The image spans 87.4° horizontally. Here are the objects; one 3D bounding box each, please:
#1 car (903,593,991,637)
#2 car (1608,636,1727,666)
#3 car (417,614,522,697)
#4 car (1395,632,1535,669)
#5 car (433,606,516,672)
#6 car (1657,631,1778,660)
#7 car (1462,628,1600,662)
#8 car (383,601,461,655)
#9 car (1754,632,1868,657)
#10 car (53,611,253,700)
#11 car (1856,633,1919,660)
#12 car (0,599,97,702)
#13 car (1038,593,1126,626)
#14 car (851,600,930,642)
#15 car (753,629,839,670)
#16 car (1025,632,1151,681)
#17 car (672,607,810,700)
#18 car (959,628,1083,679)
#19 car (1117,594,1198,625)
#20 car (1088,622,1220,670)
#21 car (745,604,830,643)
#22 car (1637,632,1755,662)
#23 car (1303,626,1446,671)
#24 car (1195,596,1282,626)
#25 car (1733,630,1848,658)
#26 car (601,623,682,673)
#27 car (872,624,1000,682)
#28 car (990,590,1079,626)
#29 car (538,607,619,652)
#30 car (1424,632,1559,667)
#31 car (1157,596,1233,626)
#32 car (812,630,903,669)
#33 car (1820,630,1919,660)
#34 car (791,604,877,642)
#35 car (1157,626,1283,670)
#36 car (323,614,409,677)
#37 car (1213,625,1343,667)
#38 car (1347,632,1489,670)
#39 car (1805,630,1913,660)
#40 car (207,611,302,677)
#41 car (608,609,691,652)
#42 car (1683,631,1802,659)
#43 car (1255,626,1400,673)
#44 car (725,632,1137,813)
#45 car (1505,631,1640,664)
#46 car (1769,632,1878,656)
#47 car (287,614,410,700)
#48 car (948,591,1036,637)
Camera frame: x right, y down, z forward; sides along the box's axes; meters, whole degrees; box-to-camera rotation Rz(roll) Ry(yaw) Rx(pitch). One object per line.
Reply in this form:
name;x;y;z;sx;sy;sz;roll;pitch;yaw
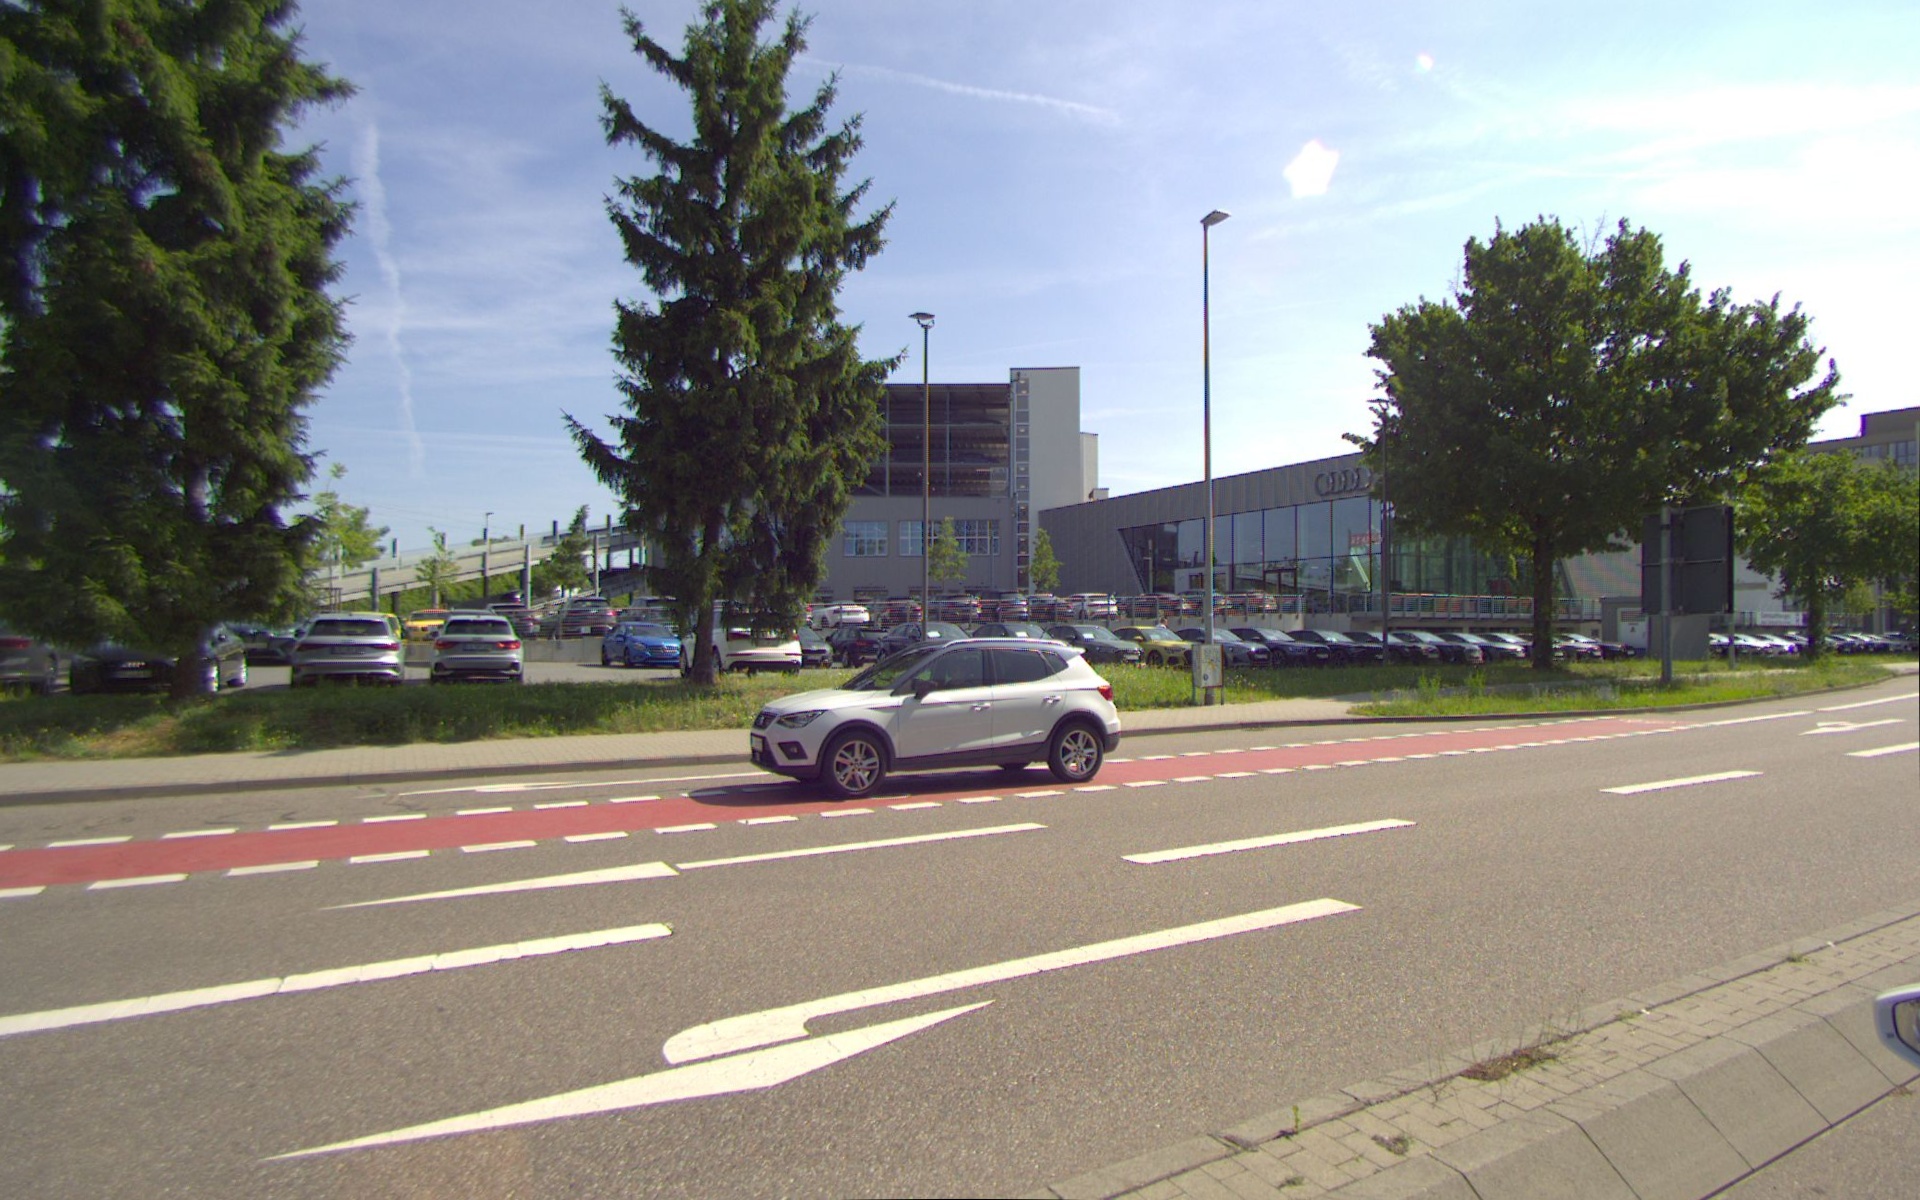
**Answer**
car;-0.641;0.718;44.838;1.957;1.839;4.476;1;-2;-31
car;31.844;2.324;45.312;1.876;1.171;3.968;1;-5;-31
car;-10.357;1.093;21.270;1.823;1.506;3.974;1;0;-26
car;19.176;1.870;38.310;1.898;1.307;4.476;1;-2;-31
car;-14.389;1.083;29.652;1.976;1.780;3.969;1;0;-29
car;36.095;2.189;47.958;2.064;1.171;4.154;1;-5;-31
car;22.959;1.789;40.572;1.982;1.307;4.476;1;-2;-31
car;-18.842;0.935;35.112;1.980;1.756;3.961;1;0;-35
car;44.441;2.353;52.544;1.933;1.091;4.154;1;-5;-31
car;-13.964;0.875;17.701;1.976;1.285;4.828;1;0;-30
car;56.504;2.722;59.786;2.027;1.460;4.287;1;-5;-30
car;-16.353;0.776;16.915;1.976;1.567;4.194;1;0;-30
car;5.877;0.488;48.945;1.957;1.504;4.476;1;-2;-31
car;-3.067;0.917;43.311;1.646;1.728;4.246;1;-2;-31
car;-5.677;1.658;34.528;1.626;1.213;3.751;1;0;-31
car;3.631;1.626;29.013;1.644;1.302;3.724;1;-3;-31
car;-5.165;1.136;23.215;1.975;1.900;4.444;1;0;-28
car;1.621;1.481;27.836;1.725;1.302;3.576;1;-3;-31
car;10.115;0.486;51.714;2.027;1.516;3.968;1;0;-30
car;5.827;1.427;30.628;1.819;1.358;3.868;1;-3;-31
car;-7.137;0.980;41.172;1.957;1.504;4.476;1;-2;-31
car;34.084;2.196;46.601;1.876;1.171;3.968;1;-5;-31
car;14.724;1.681;35.918;1.898;1.495;4.476;1;-2;-31
car;14.942;0.571;54.130;1.963;1.516;4.498;1;0;-30
car;42.595;2.287;51.604;1.933;1.205;4.154;1;-5;-31
car;-10.160;1.478;31.862;1.626;1.420;3.710;1;0;-31
car;-0.702;1.338;26.413;1.725;1.302;3.771;1;0;-31
car;3.438;0.404;47.370;1.957;1.571;4.476;1;-2;-31
car;-14.060;1.043;36.891;1.978;1.496;4.178;1;0;-33
car;20.740;1.895;39.369;1.673;1.307;4.476;1;-2;-31
car;12.373;0.543;53.163;1.648;1.516;3.968;1;0;-30
car;-3.679;1.782;35.636;1.844;1.302;3.576;1;-3;-31
car;51.962;2.589;57.074;1.976;1.460;4.232;1;-5;-29
car;-5.362;1.004;42.360;1.957;1.504;4.476;1;-2;-31
car;8.115;1.522;31.604;1.844;1.302;3.576;1;-3;-31
car;-17.010;1.246;28.912;1.976;1.643;3.969;1;0;-29
car;10.321;1.526;32.844;1.963;1.302;3.661;1;-3;-31
car;16.821;1.832;37.102;1.898;1.307;4.476;1;-2;-31
car;49.695;2.487;55.588;1.976;1.460;3.972;1;-5;-29
car;-19.005;1.126;27.225;1.785;1.585;4.220;1;0;-31
car;-11.832;1.114;38.152;1.978;1.496;4.178;1;0;-33
car;38.322;2.222;49.281;1.933;1.205;4.154;1;-5;-31
car;12.554;1.671;34.634;1.957;1.495;4.476;1;-2;-31
car;-0.319;1.195;10.968;4.050;1.639;1.987;1;-3;-26
car;25.576;1.947;42.109;1.898;1.307;4.476;1;-2;-31
car;46.331;2.381;53.982;1.678;1.047;4.088;1;-5;-31
car;-11.435;1.000;18.934;1.795;1.389;3.663;1;0;-30
car;1.410;0.679;46.055;1.957;1.988;4.476;1;-2;-31
